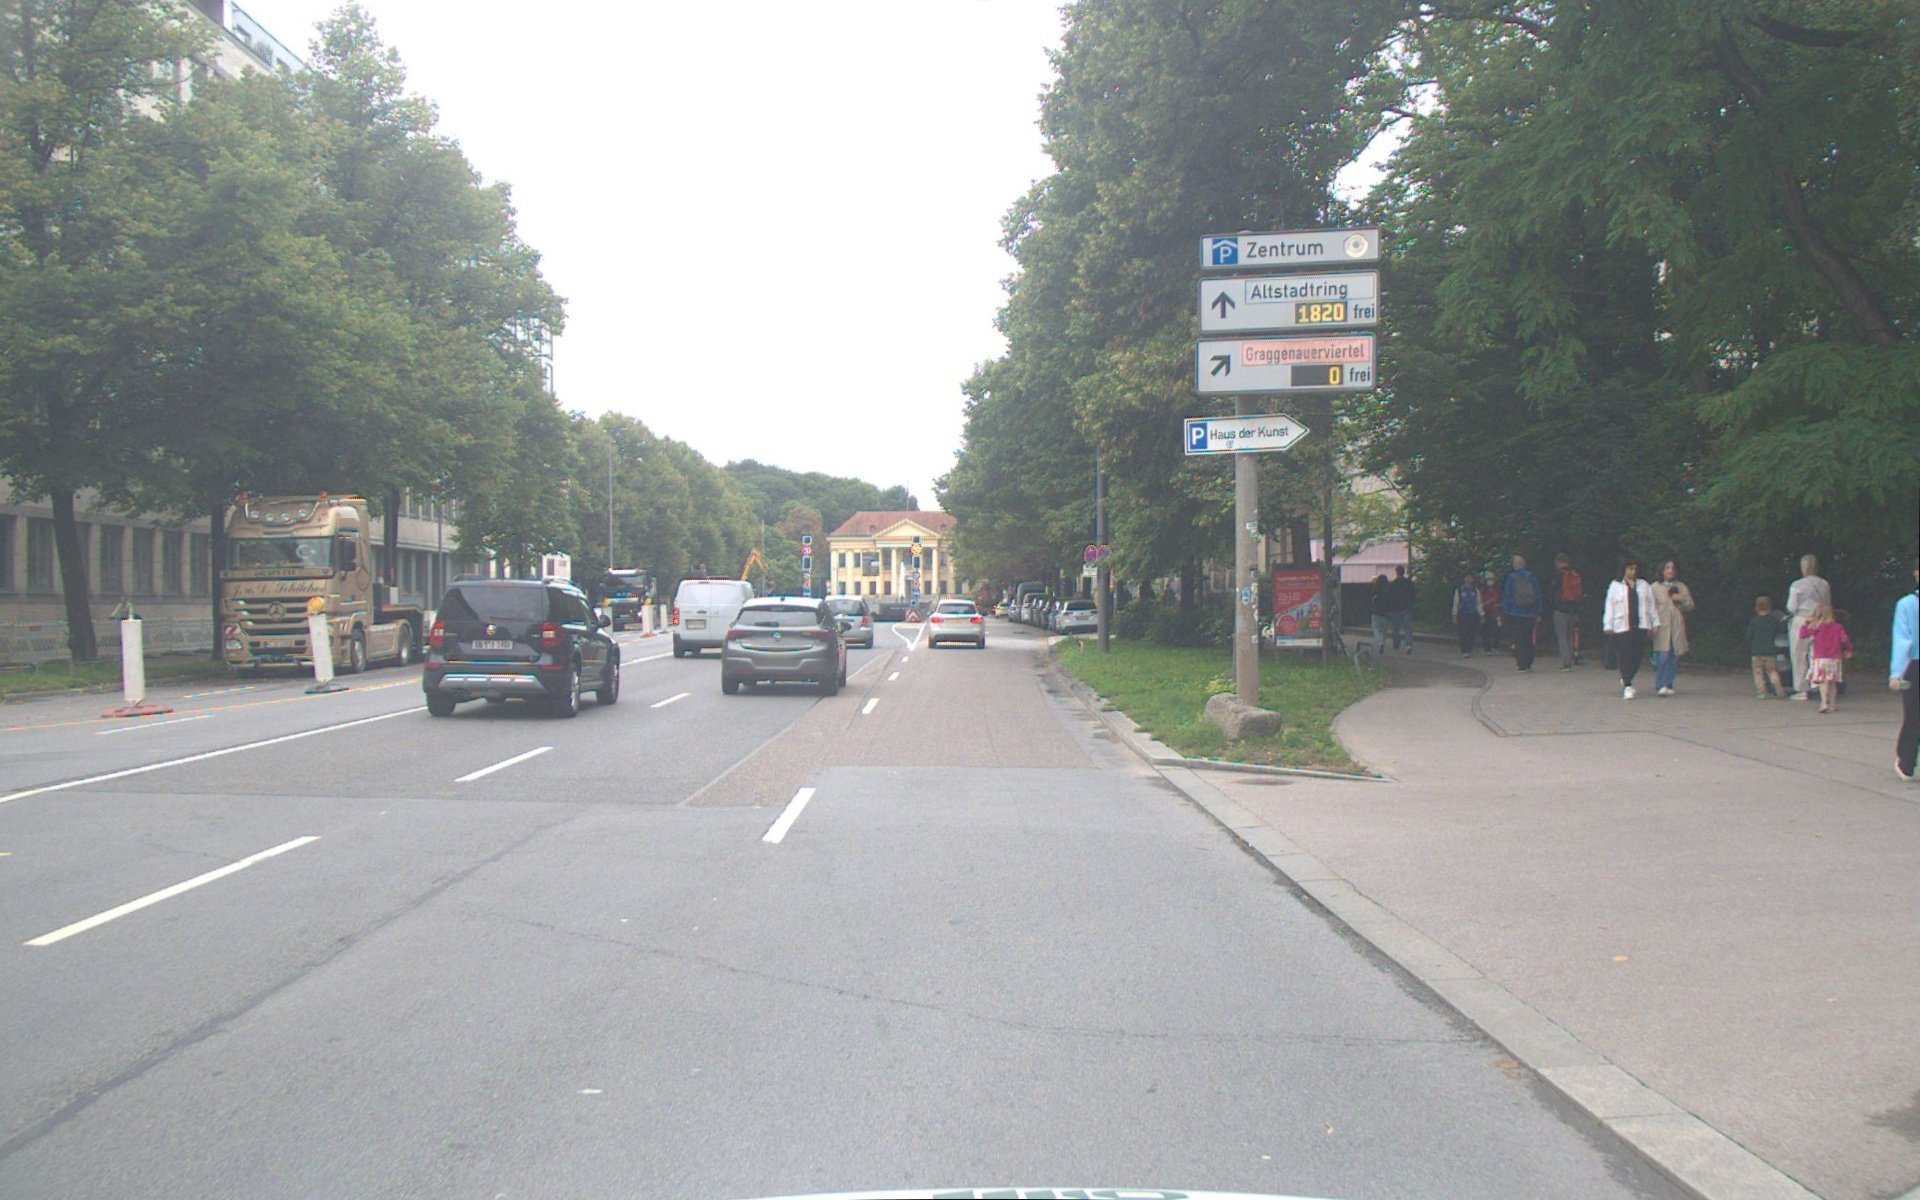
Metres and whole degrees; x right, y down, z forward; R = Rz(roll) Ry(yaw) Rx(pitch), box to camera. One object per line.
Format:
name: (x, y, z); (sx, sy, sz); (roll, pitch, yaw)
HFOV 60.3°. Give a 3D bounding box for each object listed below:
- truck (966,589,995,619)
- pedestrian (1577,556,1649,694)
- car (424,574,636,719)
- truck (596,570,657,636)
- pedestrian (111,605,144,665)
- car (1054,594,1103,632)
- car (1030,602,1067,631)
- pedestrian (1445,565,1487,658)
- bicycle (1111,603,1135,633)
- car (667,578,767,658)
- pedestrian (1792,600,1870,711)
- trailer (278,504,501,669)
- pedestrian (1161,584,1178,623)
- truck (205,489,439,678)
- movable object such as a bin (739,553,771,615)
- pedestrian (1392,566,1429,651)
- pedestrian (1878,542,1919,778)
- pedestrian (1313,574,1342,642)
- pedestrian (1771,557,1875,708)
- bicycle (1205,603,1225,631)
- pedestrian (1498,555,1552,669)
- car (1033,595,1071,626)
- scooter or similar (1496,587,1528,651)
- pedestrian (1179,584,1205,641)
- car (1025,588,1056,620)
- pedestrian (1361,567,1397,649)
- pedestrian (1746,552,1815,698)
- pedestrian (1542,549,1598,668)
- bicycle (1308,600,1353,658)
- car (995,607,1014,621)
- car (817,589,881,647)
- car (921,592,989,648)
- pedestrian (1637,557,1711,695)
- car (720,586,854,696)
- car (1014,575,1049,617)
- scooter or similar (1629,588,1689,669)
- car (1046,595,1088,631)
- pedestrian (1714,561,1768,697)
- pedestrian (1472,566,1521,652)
truck: (2.349, 0.464, 194.536); (3.257, 3.426, 8.661); (1, 0, 0)
pedestrian: (8.122, 0.304, 20.596); (0.738, 1.672, 0.651); (1, 0, 15)
car: (-5.397, 0.561, 21.299); (1.687, 1.665, 4.203); (-1, -1, -1)
truck: (-18.193, 0.159, 90.565); (2.788, 3.415, 8.746); (1, 0, -9)
pedestrian: (-24.517, 1.027, 48.707); (0.566, 1.762, 0.764); (1, 0, 0)
car: (5.116, 0.550, 71.824); (1.790, 1.577, 4.751); (-1, 0, 0)
car: (4.756, 0.894, 89.392); (1.785, 1.490, 4.027); (-1, 0, 0)
pedestrian: (9.883, 0.222, 32.341); (0.738, 1.767, 0.850); (1, 0, 15)
bicycle: (6.903, 0.752, 70.142); (0.616, 1.252, 2.617); (1, 0, -2)
car: (-6.049, 0.441, 41.739); (1.860, 1.880, 4.954); (-1, 0, -1)
pedestrian: (9.323, 0.587, 17.724); (0.618, 1.156, 0.573); (1, 0, 15)
trailer: (-14.923, -0.297, 44.441); (2.892, 3.805, 11.756); (1, 0, -5)
pedestrian: (10.364, 0.176, 81.786); (0.748, 1.943, 0.771); (1, 0, 0)
truck: (-14.317, -0.319, 37.861); (2.859, 3.841, 7.658); (1, 0, -5)
movable object such as a bin: (-22.012, -1.685, 177.771); (2.644, 6.625, 5.175); (1, 0, 0)
pedestrian: (9.556, 0.179, 35.102); (0.595, 1.794, 0.797); (1, 0, 3)
pedestrian: (7.221, 0.431, 12.045); (0.738, 1.672, 0.850); (1, 0, 15)
pedestrian: (9.878, 0.222, 44.516); (0.617, 1.805, 0.782); (1, 0, 3)
pedestrian: (9.414, 0.347, 18.066); (0.667, 1.593, 0.872); (1, 0, 0)
bicycle: (13.718, 0.913, 89.145); (0.685, 1.440, 2.298); (-1, 0, 0)
pedestrian: (8.990, 0.191, 26.334); (0.738, 1.767, 0.850); (1, 0, 15)
car: (4.636, 0.521, 84.070); (1.689, 1.490, 4.775); (-1, 0, 0)
scooter or similar: (10.844, 0.361, 32.502); (0.300, 1.245, 0.922); (0, 0, 38)
pedestrian: (7.989, 0.440, 56.985); (0.763, 1.943, 0.771); (1, 0, 0)
car: (5.000, 0.250, 103.046); (1.689, 1.900, 4.027); (-1, 0, 0)
pedestrian: (8.953, 0.170, 35.343); (0.595, 1.710, 0.754); (1, 0, 3)
pedestrian: (9.774, 0.291, 19.707); (0.618, 1.696, 0.573); (1, 0, 15)
pedestrian: (9.740, 0.136, 26.417); (0.576, 1.854, 0.850); (1, 0, 0)
bicycle: (6.880, 0.524, 30.776); (0.376, 1.039, 2.079); (1, 0, 0)
car: (4.220, 1.320, 156.954); (1.689, 1.347, 4.027); (-1, 0, 0)
car: (-3.365, 0.538, 50.883); (1.743, 1.683, 3.999); (1, 0, -1)
car: (-0.206, 0.598, 51.708); (1.745, 1.673, 3.995); (1, 0, -6)
pedestrian: (8.906, 0.317, 20.643); (0.738, 1.672, 0.691); (1, 0, 15)
car: (-2.656, 0.603, 26.183); (1.675, 1.579, 4.000); (1, 0, 0)
car: (4.741, -0.238, 109.982); (1.953, 2.689, 4.876); (1, 0, -2)
scooter or similar: (10.808, 0.426, 25.600); (0.409, 1.219, 1.219); (1, 0, 0)
car: (4.958, 0.591, 77.062); (1.689, 1.577, 4.585); (-1, 0, 0)
pedestrian: (9.363, 0.344, 19.844); (0.474, 1.593, 0.573); (1, 0, 15)
pedestrian: (10.642, 0.178, 32.839); (0.669, 1.666, 0.661); (1, 0, -12)
